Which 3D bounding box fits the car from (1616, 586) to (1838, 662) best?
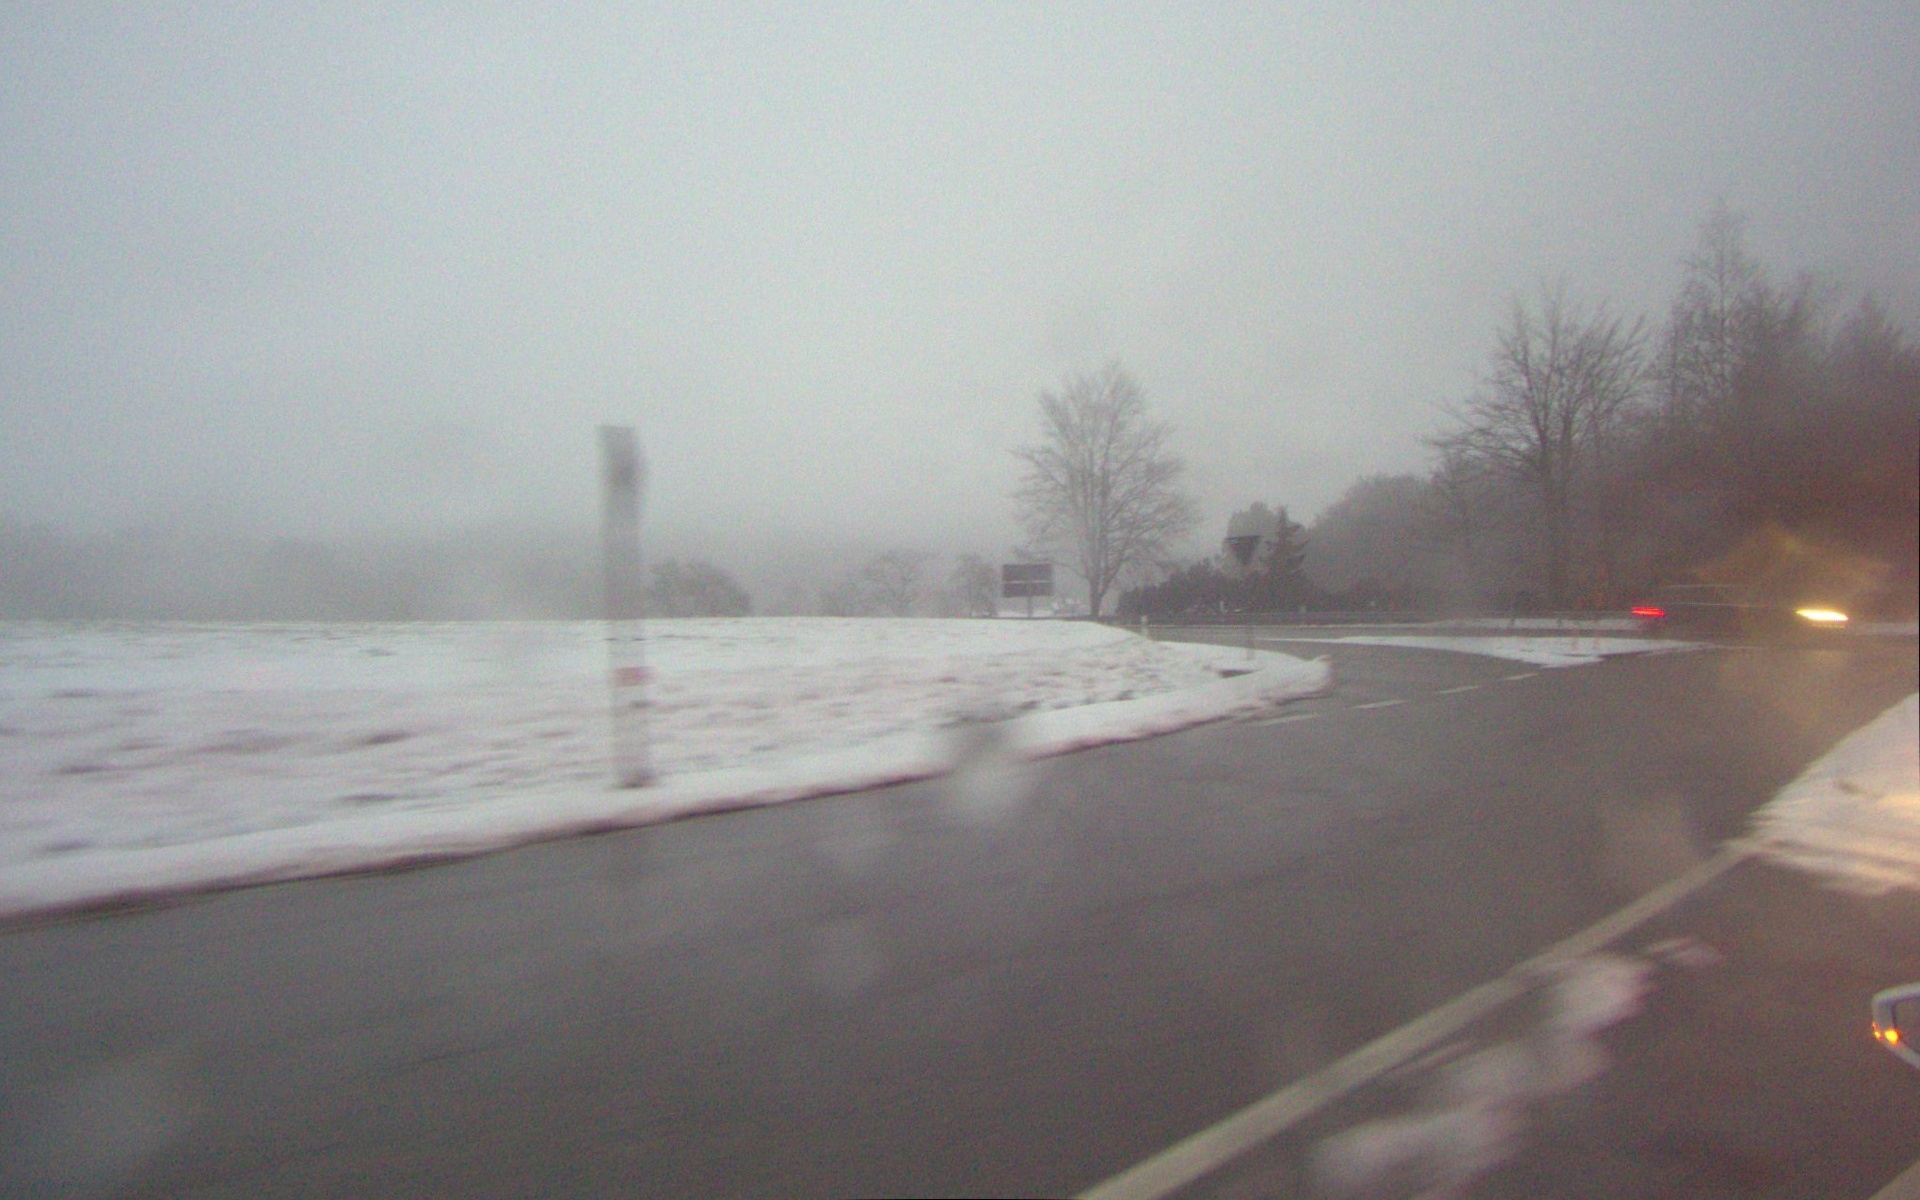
[{"bbox_3d":[22.598,0.646,29.796,1.672,1.971,4.960,1,1,-41],"label":"car"}]
